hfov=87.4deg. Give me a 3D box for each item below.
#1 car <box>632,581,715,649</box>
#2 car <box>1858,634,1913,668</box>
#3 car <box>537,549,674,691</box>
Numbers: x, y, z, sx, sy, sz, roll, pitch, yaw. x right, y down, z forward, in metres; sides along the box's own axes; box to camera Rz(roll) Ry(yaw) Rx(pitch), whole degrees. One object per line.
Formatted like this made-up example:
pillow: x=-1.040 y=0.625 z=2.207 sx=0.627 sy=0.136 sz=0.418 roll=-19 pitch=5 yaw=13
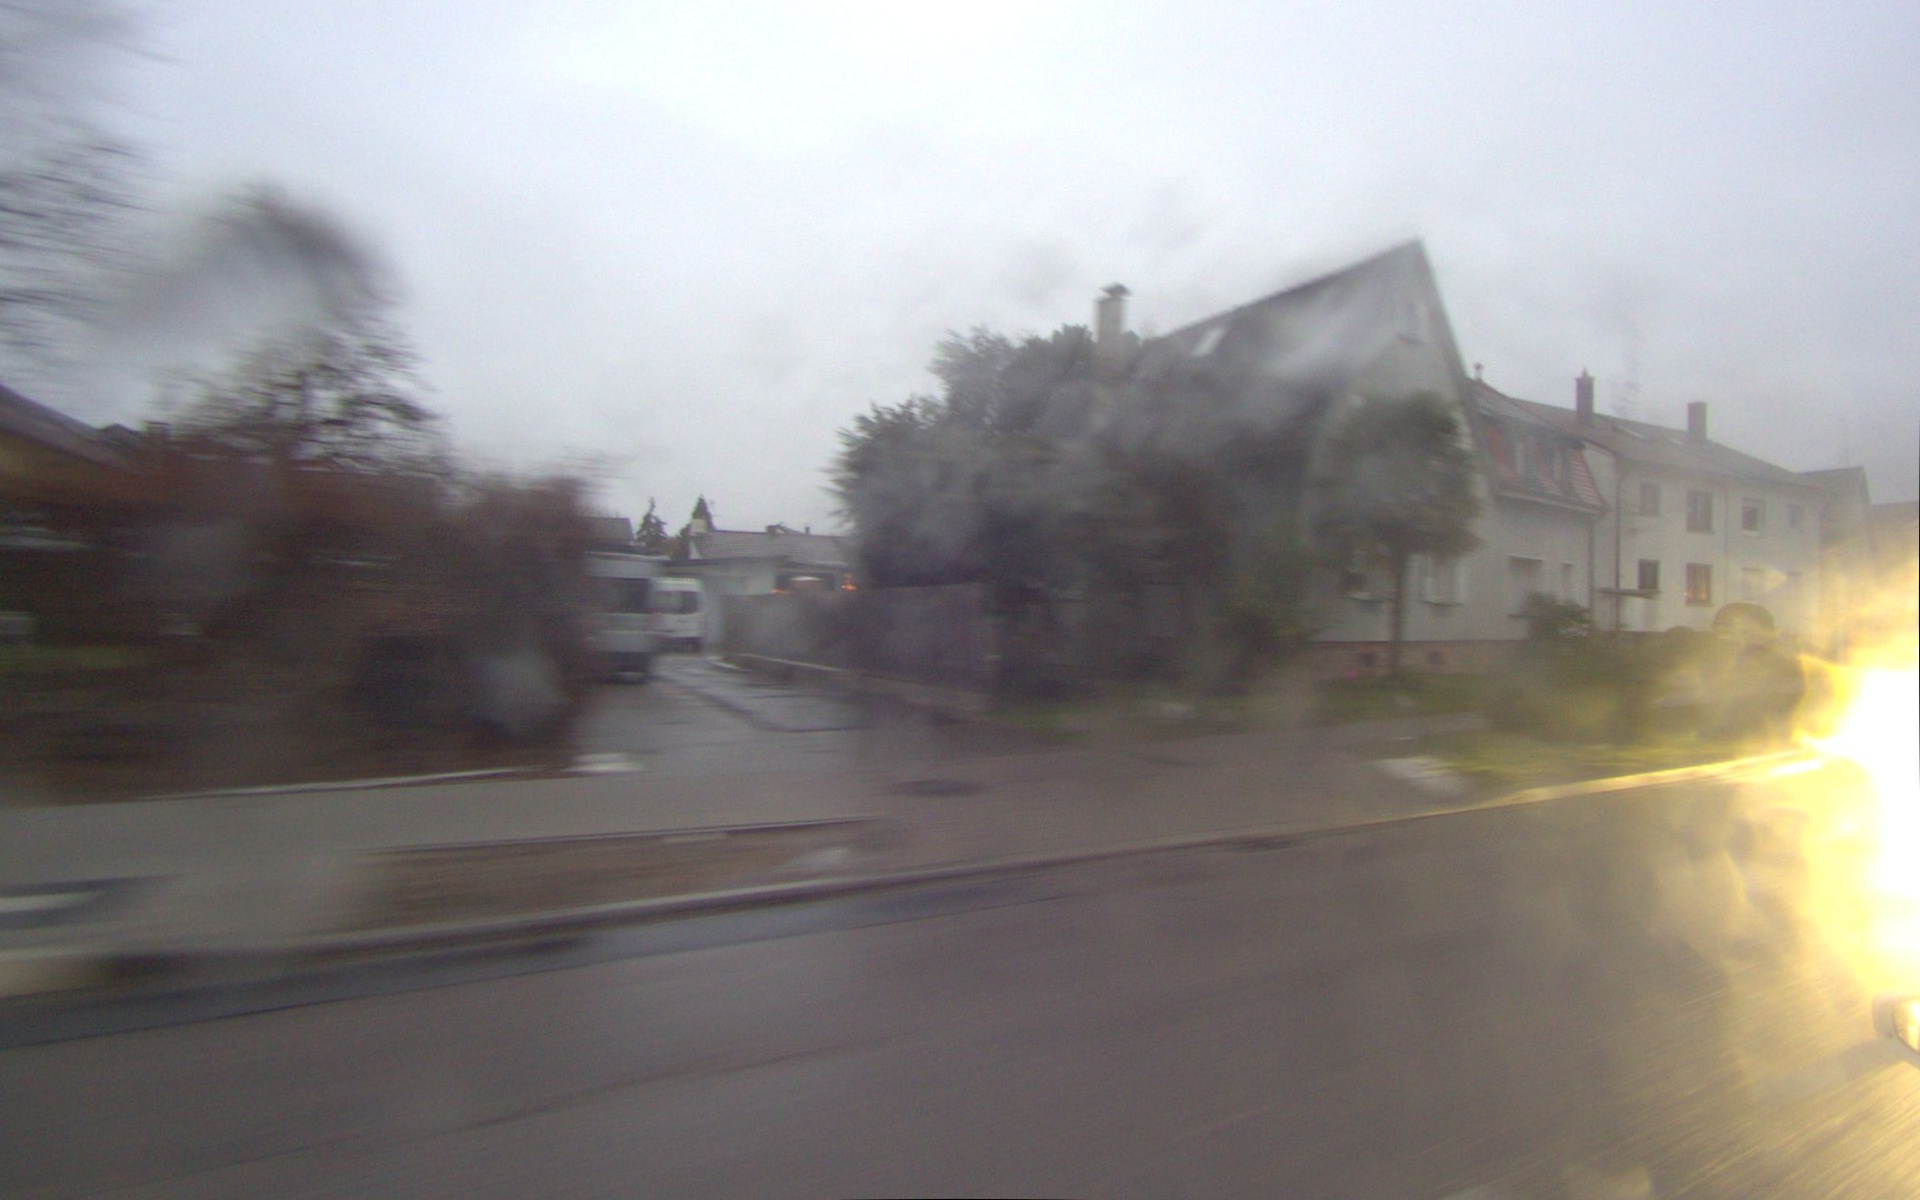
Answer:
car: x=-10.921 y=0.539 z=37.973 sx=2.285 sy=2.372 sz=5.324 roll=1 pitch=0 yaw=-24
car: x=42.157 y=2.303 z=45.746 sx=1.758 sy=1.411 sz=3.977 roll=3 pitch=0 yaw=43
car: x=-7.612 y=0.365 z=21.212 sx=1.975 sy=2.595 sz=5.317 roll=1 pitch=0 yaw=-27
